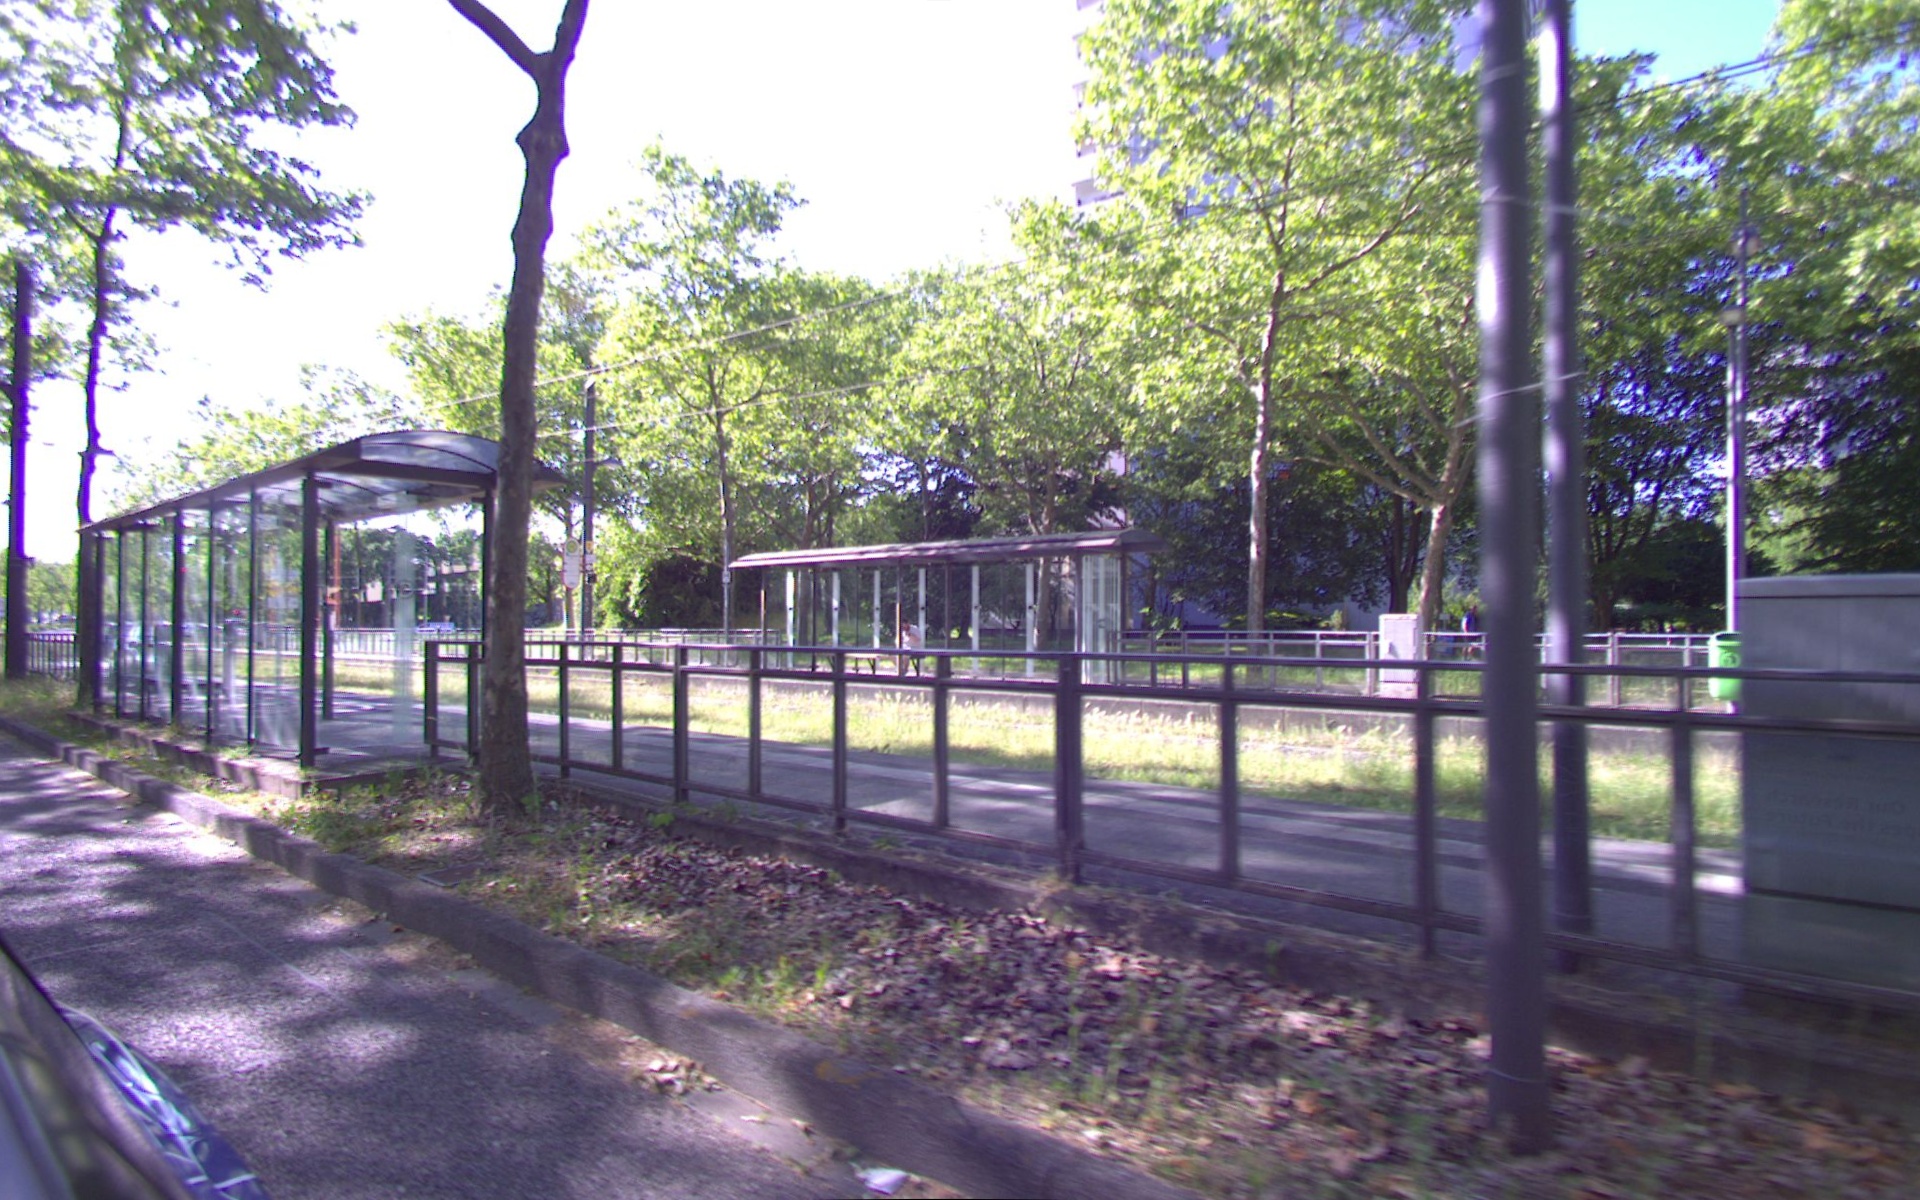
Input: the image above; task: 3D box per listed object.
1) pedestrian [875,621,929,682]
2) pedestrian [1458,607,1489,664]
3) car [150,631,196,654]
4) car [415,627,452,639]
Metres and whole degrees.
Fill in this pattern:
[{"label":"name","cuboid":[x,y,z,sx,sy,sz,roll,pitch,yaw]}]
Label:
[{"label":"pedestrian","cuboid":[-1.158,1.014,20.168,0.762,1.192,0.758,-2,-2,41]},{"label":"pedestrian","cuboid":[15.125,1.038,29.784,0.650,1.674,0.641,-2,-2,41]},{"label":"car","cuboid":[-57.029,3.061,73.321,4.231,1.629,1.776,-2,-2,41]},{"label":"car","cuboid":[-65.207,4.094,125.453,3.930,1.522,1.806,0,-2,-24]}]
